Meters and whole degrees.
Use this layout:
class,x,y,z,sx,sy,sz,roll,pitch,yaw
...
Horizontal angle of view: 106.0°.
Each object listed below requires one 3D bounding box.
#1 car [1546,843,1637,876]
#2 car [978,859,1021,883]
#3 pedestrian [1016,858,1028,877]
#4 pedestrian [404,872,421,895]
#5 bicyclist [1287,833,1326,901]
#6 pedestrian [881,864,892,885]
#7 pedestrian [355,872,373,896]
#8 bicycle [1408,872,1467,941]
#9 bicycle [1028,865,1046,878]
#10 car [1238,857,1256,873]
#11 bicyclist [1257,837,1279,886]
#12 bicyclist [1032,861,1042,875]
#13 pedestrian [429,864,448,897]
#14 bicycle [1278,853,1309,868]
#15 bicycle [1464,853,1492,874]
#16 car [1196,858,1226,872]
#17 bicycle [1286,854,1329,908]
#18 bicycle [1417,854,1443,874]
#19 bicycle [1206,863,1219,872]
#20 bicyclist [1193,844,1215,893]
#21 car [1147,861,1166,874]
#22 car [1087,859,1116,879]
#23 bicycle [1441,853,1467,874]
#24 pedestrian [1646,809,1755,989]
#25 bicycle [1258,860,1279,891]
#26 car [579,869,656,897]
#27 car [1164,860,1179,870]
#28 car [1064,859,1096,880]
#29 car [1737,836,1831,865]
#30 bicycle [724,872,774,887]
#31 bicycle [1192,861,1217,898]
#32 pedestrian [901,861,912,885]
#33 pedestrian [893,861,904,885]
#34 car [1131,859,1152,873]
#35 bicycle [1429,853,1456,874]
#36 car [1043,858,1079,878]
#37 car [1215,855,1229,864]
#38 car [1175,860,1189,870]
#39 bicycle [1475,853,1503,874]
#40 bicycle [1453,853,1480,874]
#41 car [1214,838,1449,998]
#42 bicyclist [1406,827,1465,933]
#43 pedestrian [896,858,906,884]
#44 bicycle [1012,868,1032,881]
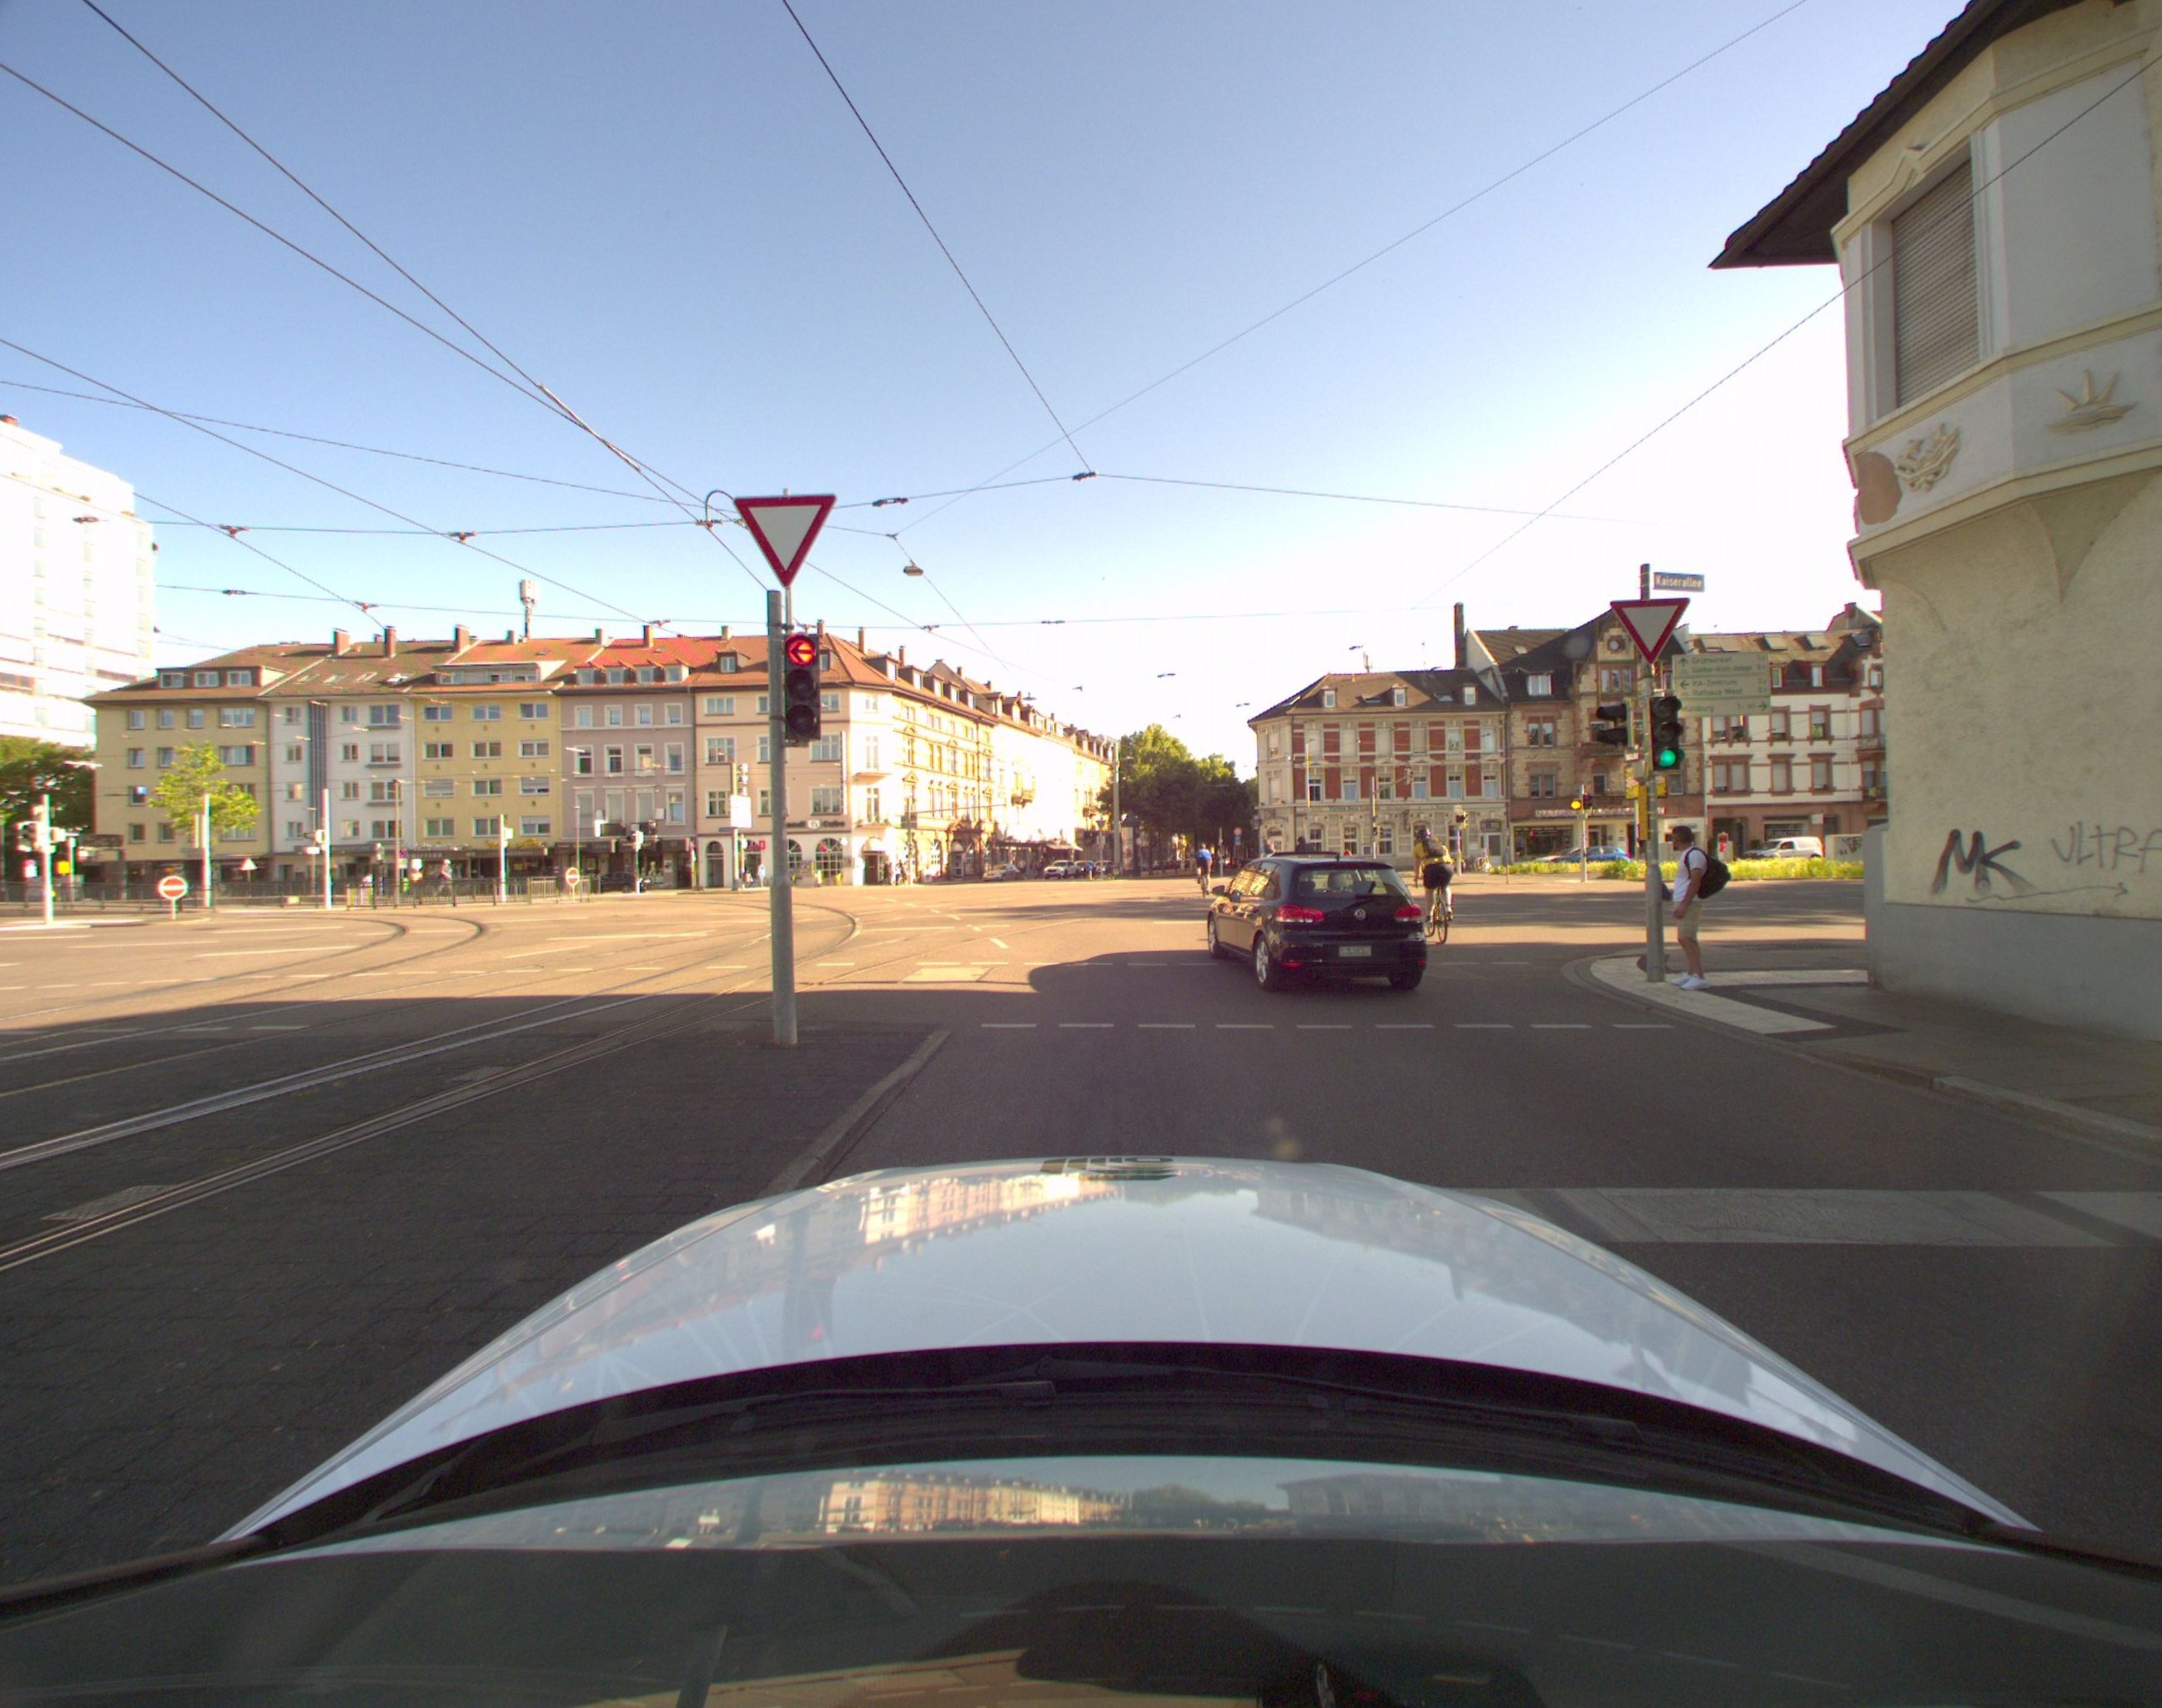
class,x,y,z,sx,sy,sz,roll,pitch,yaw
car,28.223,0.320,45.130,3.769,1.778,2.000,0,-1,1
car,-6.694,1.369,67.440,1.977,1.904,4.019,-1,-1,19
pedestrian,-4.764,1.107,65.484,0.814,1.512,0.601,-1,-1,16
pedestrian,-47.198,2.092,57.525,0.631,1.634,0.700,0,-1,-2
bicyclist,5.459,0.318,19.767,0.801,1.606,0.885,0,-1,7
pedestrian,-13.681,1.459,57.353,0.631,1.477,0.465,0,-1,-2
pedestrian,-49.765,2.103,56.511,0.631,1.634,0.700,0,-1,-2
bicycle,5.808,0.820,13.351,0.748,1.031,1.789,-1,-1,20
bicycle,-3.793,1.508,70.564,0.644,1.123,2.265,-1,-1,23
car,16.816,1.116,82.355,1.680,1.565,3.855,-1,-1,14
bicyclist,6.407,0.263,27.887,0.684,1.633,0.887,-1,-1,14
bicyclist,-3.786,1.201,70.592,0.626,1.185,0.689,-1,-1,23
pedestrian,-32.834,1.344,41.619,0.523,1.628,0.577,0,-1,0
bicycle,14.833,0.455,56.906,2.040,0.998,0.631,-1,-1,4
bicycle,25.497,0.623,52.374,0.626,1.287,2.663,0,-1,3
car,18.340,1.569,114.716,3.955,1.904,2.009,-1,-1,17
bicycle,5.443,0.631,19.638,0.751,1.236,1.706,0,-1,7
bicycle,22.465,0.651,52.443,0.689,1.287,2.663,0,-1,3
bicycle,15.994,1.655,98.856,0.630,1.085,1.687,0,-1,-28
bicyclist,3.792,0.441,25.197,0.635,1.494,0.885,0,1,6
car,11.346,1.980,122.486,1.977,1.904,4.019,-1,-1,19
car,1.996,1.404,79.638,1.979,1.904,4.015,-1,-1,14
bicycle,23.979,0.606,52.407,0.626,1.287,2.663,0,-1,3
pedestrian,6.426,0.453,8.456,0.589,1.756,0.635,-5,-1,-37
bicycle,6.454,0.724,28.031,0.644,1.031,1.778,-1,-1,15
car,-30.594,1.916,53.814,3.962,1.670,2.006,-2,0,10
car,14.665,1.793,131.763,1.546,1.513,3.673,-1,-1,19
car,-0.076,1.371,73.710,1.979,1.904,4.015,-1,-1,14
car,45.306,-0.224,52.558,4.349,1.778,2.000,0,-1,1
bicycle,-23.429,1.789,57.461,3.118,0.980,1.002,0,-1,1
bicycle,3.776,0.753,24.987,0.623,1.085,1.705,0,-1,5
pedestrian,-12.364,1.333,57.712,0.631,1.634,0.700,0,-1,-2
pedestrian,-12.642,1.332,56.361,0.631,1.634,0.700,0,-1,-2
car,8.399,1.626,112.686,1.977,1.904,4.019,-1,-1,19
bicycle,23.256,0.621,52.414,0.689,1.287,2.663,0,-1,3
car,-1.590,1.135,67.602,1.979,1.618,4.015,-1,-1,14
car,23.273,0.925,134.291,1.546,1.513,3.673,-1,-1,19
car,16.837,1.847,135.845,1.546,1.513,3.673,-1,-1,19
bicycle,26.192,0.614,52.346,0.626,1.287,2.663,0,-1,3
bicycle,24.770,0.623,52.379,0.626,1.287,2.663,0,-1,3
car,2.734,0.578,9.853,1.722,1.508,4.053,0,1,2
bicyclist,5.792,0.410,13.352,0.799,1.663,0.888,-1,-1,19
pedestrian,-12.932,1.196,58.494,0.631,1.881,0.465,0,-1,-2
bicycle,-4.736,1.636,65.552,0.756,1.008,2.406,-1,-1,16
